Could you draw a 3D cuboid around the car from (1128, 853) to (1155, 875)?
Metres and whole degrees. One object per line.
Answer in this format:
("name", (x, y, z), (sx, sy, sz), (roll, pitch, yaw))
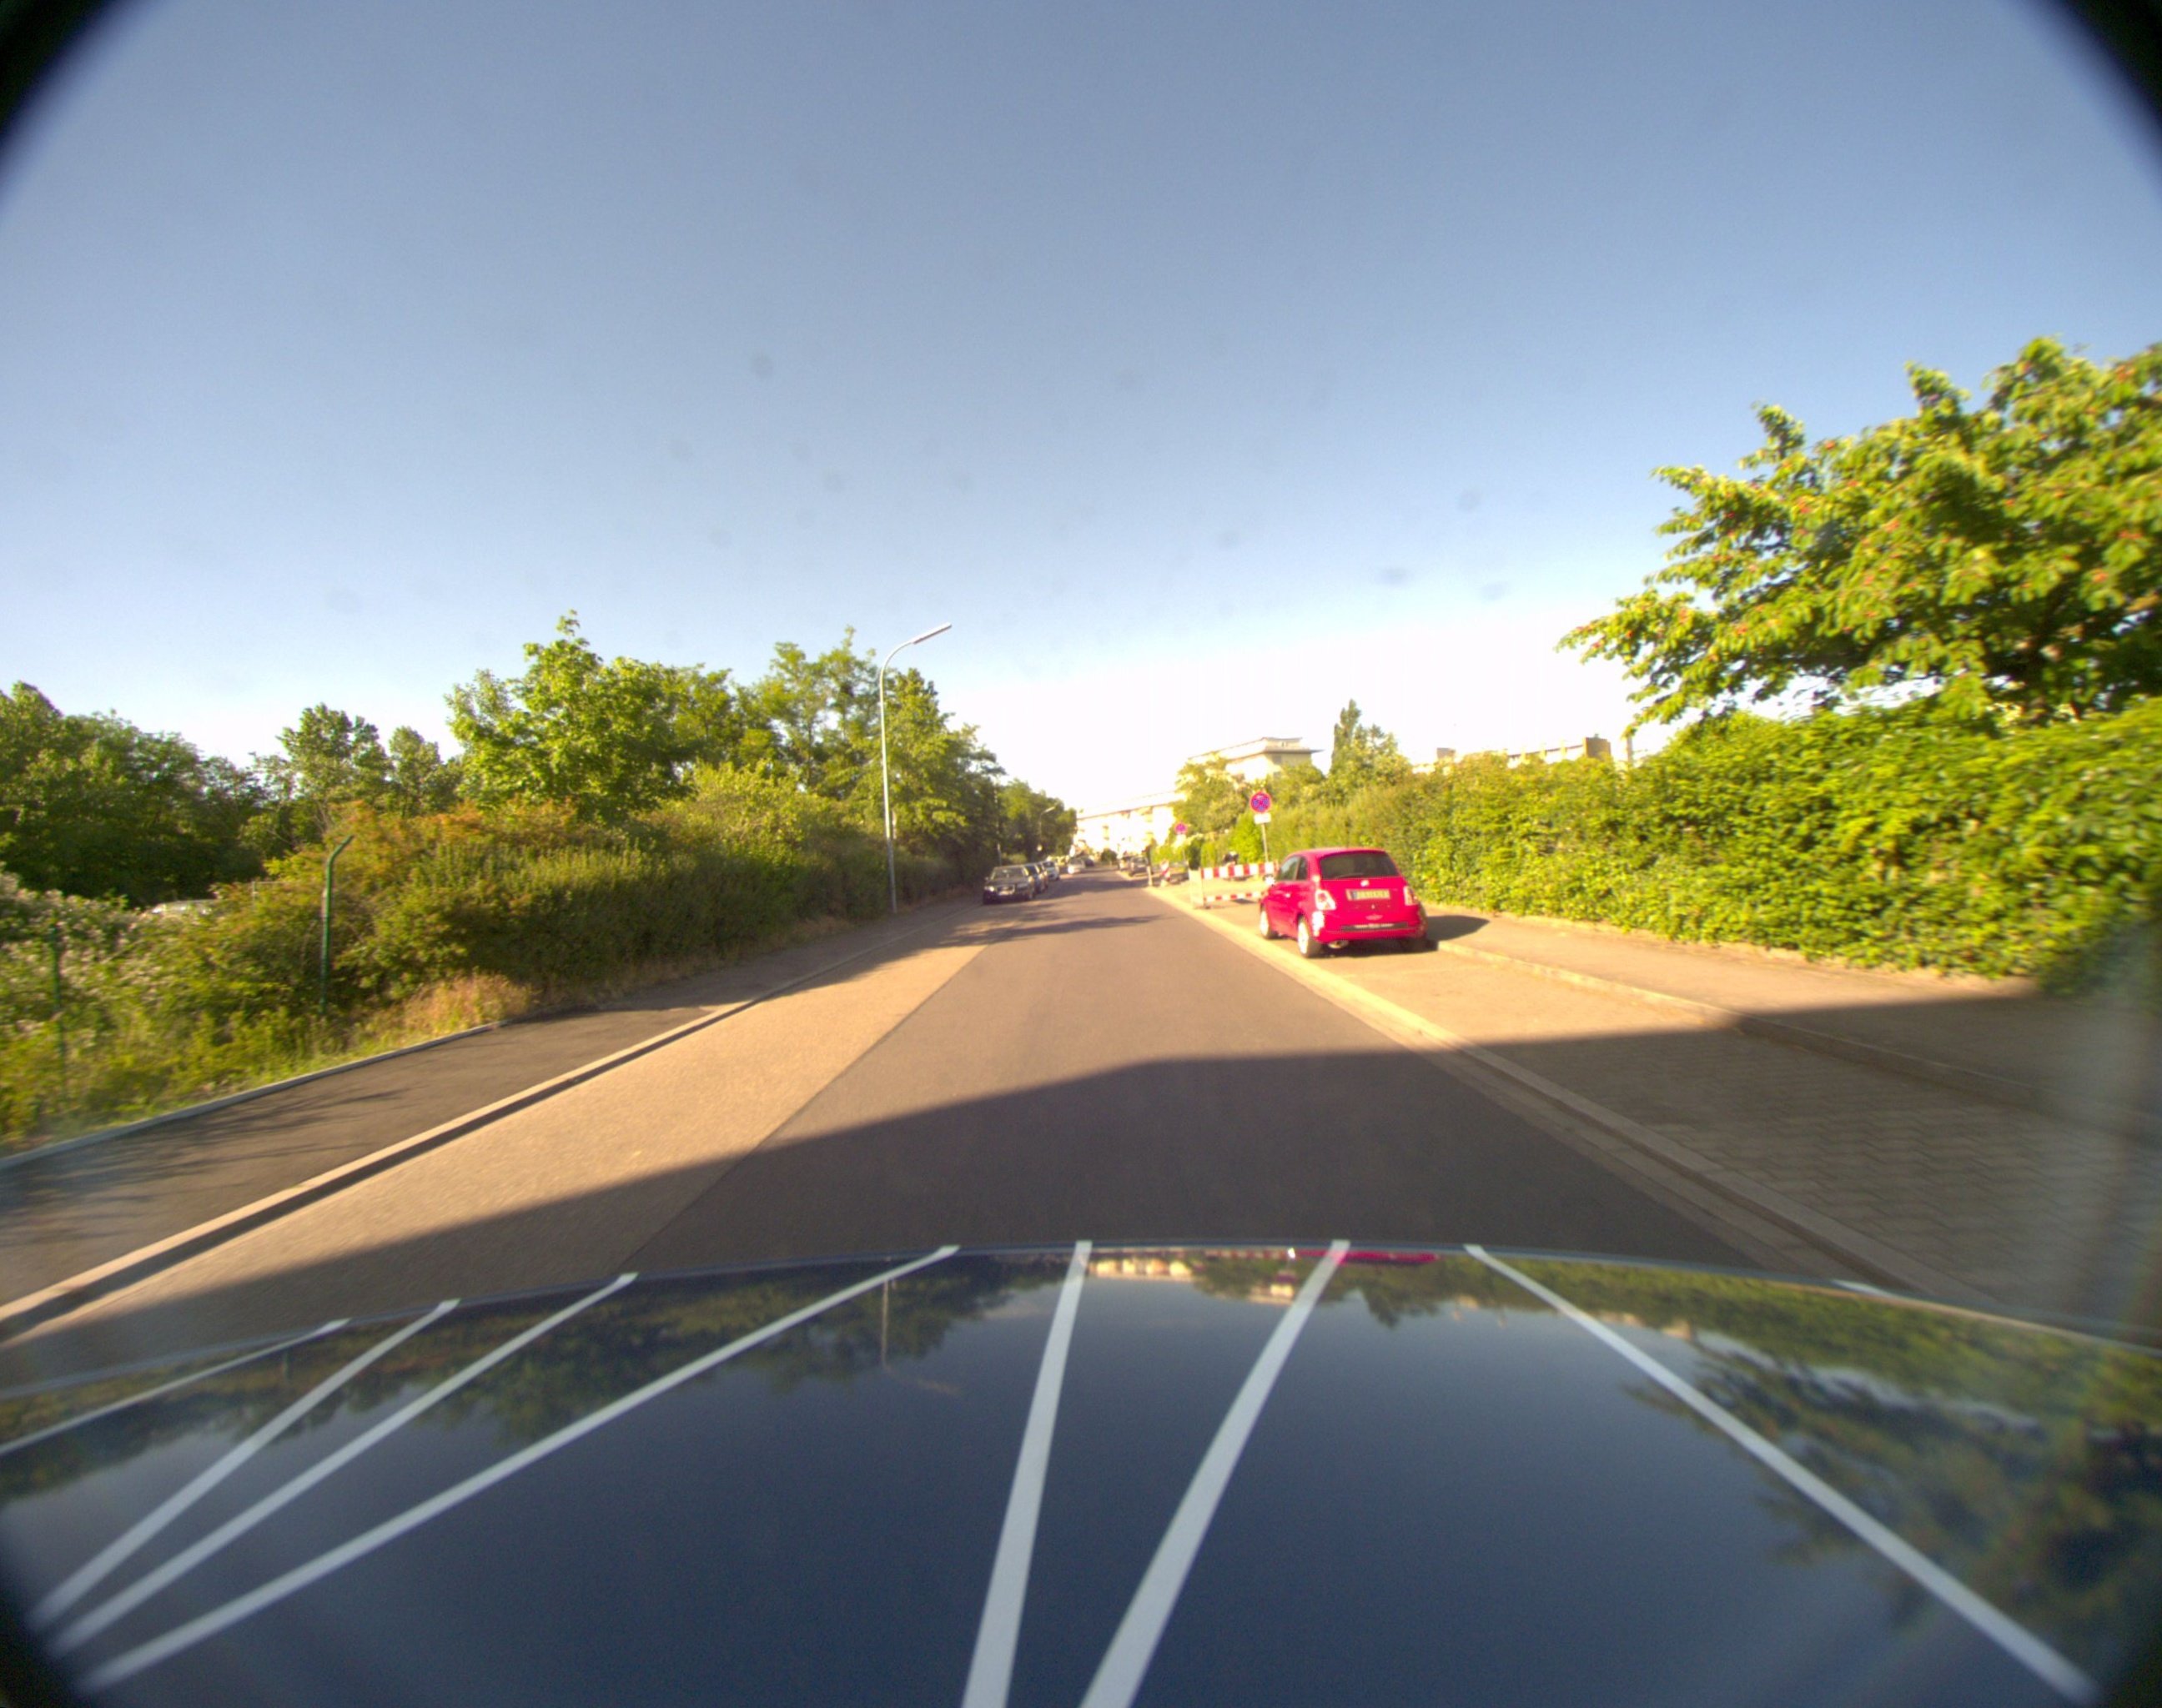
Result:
("car", (4.597, 0.717, 58.134), (1.647, 1.547, 4.417), (-3, 0, 1))

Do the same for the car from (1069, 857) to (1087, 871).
("car", (-0.296, 0.982, 76.358), (1.596, 1.417, 4.171), (-1, 0, 2))

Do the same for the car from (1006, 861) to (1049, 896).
("car", (-2.579, 1.154, 37.710), (1.659, 1.436, 4.656), (-6, 0, 0))

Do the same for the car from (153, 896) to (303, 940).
("car", (-33.314, 2.477, 29.755), (3.886, 1.390, 1.840), (-3, 1, 3))

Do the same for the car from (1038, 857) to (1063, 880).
("car", (-2.307, 1.082, 58.293), (1.559, 1.529, 3.555), (-6, 0, 1))

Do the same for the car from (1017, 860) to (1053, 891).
("car", (-2.602, 1.206, 43.960), (1.659, 1.477, 3.838), (-6, 0, 0))

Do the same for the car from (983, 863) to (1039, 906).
("car", (-2.781, 1.190, 31.207), (1.758, 1.405, 4.656), (-6, 0, 0))

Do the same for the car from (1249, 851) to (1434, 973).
("car", (3.740, 0.736, 11.522), (1.563, 1.486, 3.570), (-3, 0, 1))

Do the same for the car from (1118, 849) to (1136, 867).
("car", (4.554, 0.386, 76.008), (1.647, 1.590, 4.312), (-5, 0, 3))

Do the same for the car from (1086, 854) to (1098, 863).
("car", (1.910, 0.793, 134.516), (1.732, 1.455, 4.681), (-2, -1, -4))

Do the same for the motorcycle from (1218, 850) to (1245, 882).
("motorcycle", (6.440, 0.500, 32.649), (0.568, 1.261, 2.090), (-5, 1, -3))
